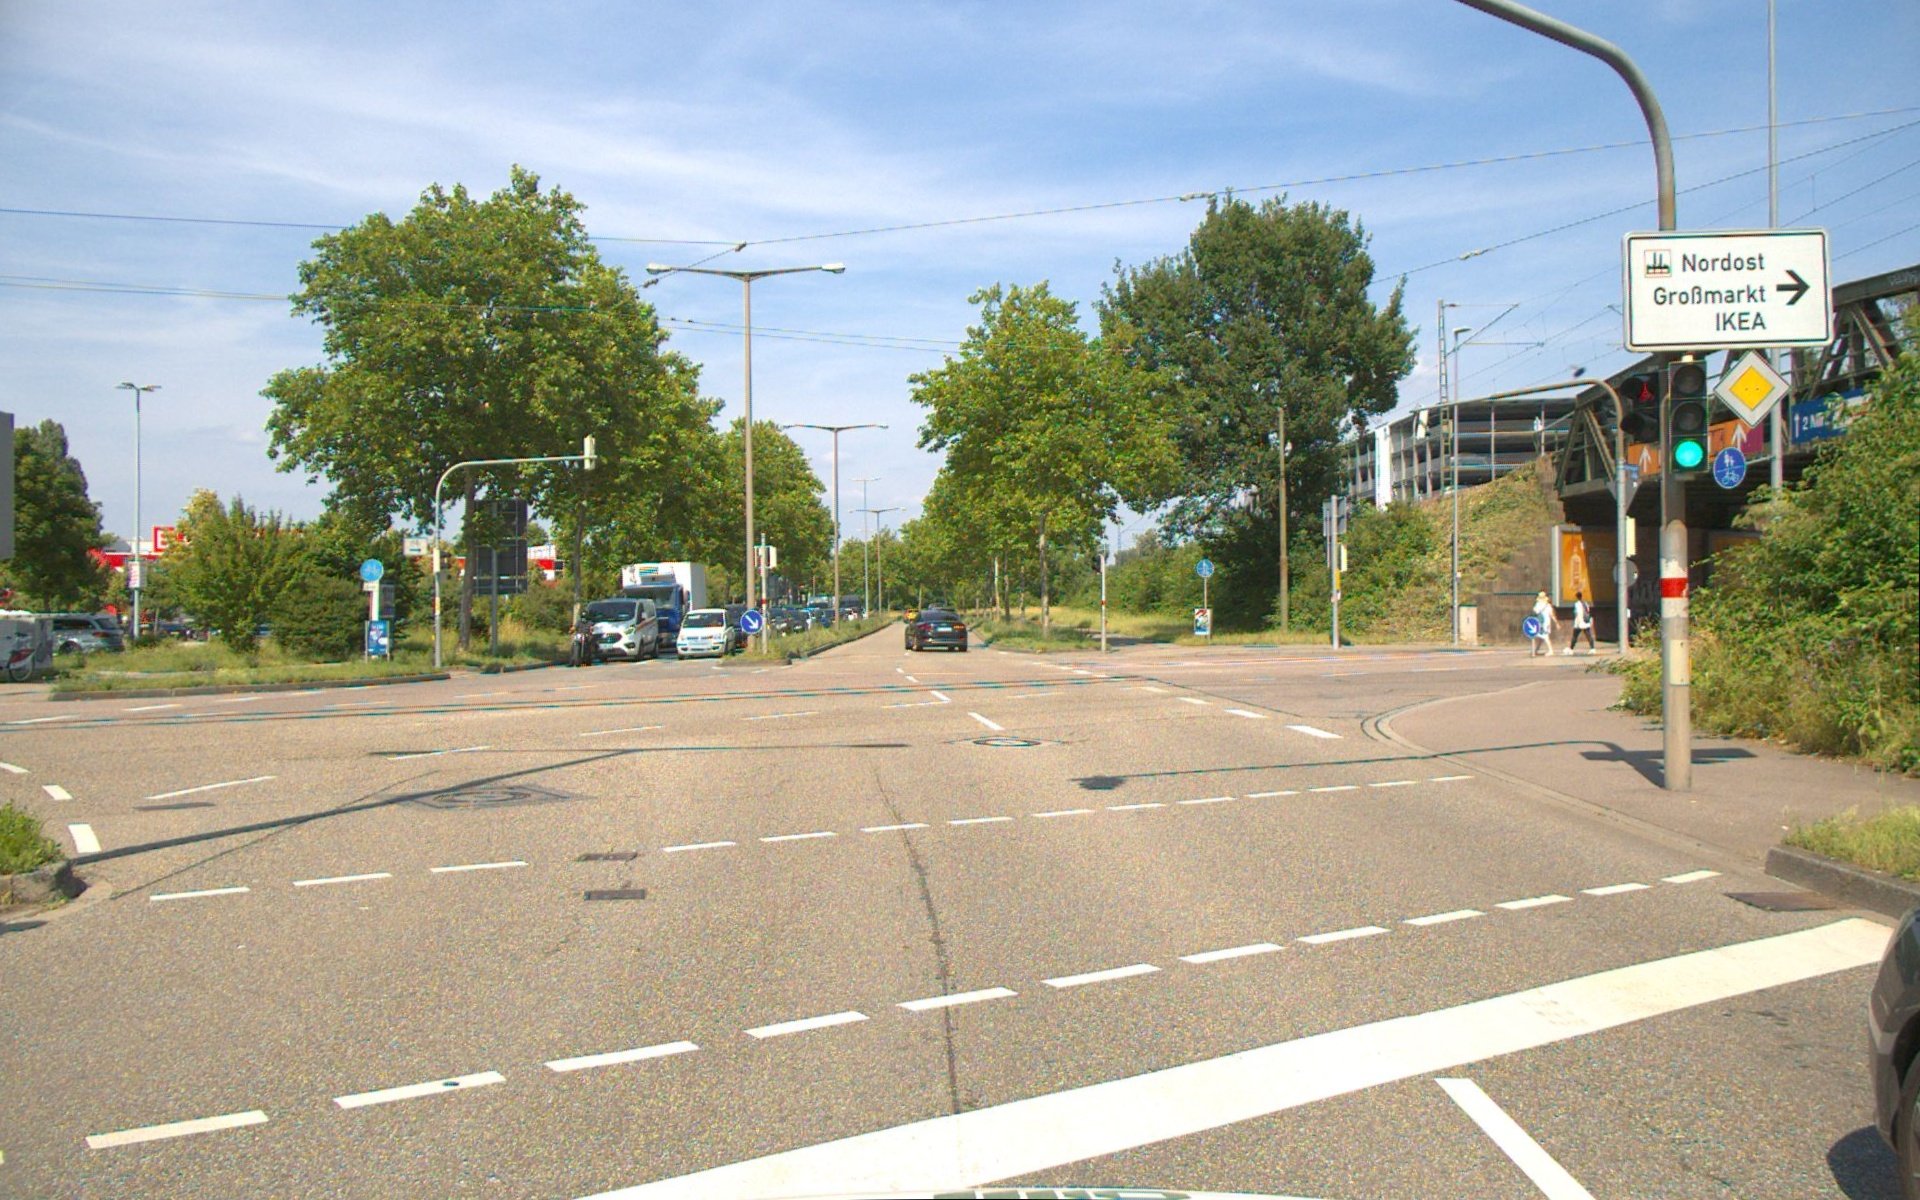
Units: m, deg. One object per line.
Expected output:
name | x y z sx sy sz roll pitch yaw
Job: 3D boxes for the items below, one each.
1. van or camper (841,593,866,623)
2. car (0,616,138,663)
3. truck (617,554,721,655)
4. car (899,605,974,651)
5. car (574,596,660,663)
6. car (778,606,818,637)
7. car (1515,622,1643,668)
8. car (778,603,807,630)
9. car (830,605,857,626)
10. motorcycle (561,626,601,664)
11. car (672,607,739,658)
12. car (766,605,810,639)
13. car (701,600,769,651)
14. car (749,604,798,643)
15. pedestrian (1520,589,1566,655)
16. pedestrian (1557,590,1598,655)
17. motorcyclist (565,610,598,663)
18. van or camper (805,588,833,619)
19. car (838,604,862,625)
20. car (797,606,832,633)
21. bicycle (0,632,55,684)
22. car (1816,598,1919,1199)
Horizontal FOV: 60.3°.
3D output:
van or camper | -9.056 0.729 140.523 1.899 2.410 5.395 -2 -1 -2
car | -29.705 1.287 54.152 4.477 1.439 2.197 -1 0 -8
truck | -11.044 0.158 63.354 2.747 3.532 6.690 -3 0 -1
car | -0.867 0.946 57.978 1.874 1.489 4.609 -1 0 -11
car | -10.936 0.903 53.069 1.937 2.034 5.028 -1 0 -3
car | -8.278 1.089 84.691 1.654 1.497 3.814 -2 0 -1
car | 21.391 1.529 57.128 4.447 1.433 1.976 -1 0 -34
car | -12.015 1.190 118.671 1.654 1.891 4.035 -2 -1 -1
car | -8.781 1.171 125.006 1.747 1.484 4.471 -2 0 -1
motorcycle | -10.962 1.294 47.932 0.674 1.009 2.217 -1 0 -1
car | -8.030 0.997 52.423 1.560 1.503 3.728 -2 0 -1
car | -8.214 1.040 79.056 1.655 1.499 4.217 -3 0 -1
car | -7.870 0.895 58.260 1.783 1.675 4.692 -2 -1 -1
car | -8.055 0.994 71.785 1.654 1.614 4.239 -2 0 -1
pedestrian | 14.593 0.549 41.436 0.850 1.640 0.777 -1 0 -1
pedestrian | 15.532 0.564 41.642 0.714 1.607 0.777 -1 0 -1
motorcyclist | -10.997 1.045 48.026 0.728 1.496 0.987 -1 0 -1
van or camper | -12.481 0.307 146.780 1.974 2.633 5.516 -2 0 -1
car | -8.768 1.160 131.584 1.654 1.537 3.814 -2 0 -1
car | -8.543 1.139 97.382 1.749 1.515 4.209 -2 0 -2
bicycle | -19.939 1.212 34.648 0.581 1.055 1.897 -1 0 13
car | 2.970 0.747 2.117 1.640 1.479 4.035 1 0 0
